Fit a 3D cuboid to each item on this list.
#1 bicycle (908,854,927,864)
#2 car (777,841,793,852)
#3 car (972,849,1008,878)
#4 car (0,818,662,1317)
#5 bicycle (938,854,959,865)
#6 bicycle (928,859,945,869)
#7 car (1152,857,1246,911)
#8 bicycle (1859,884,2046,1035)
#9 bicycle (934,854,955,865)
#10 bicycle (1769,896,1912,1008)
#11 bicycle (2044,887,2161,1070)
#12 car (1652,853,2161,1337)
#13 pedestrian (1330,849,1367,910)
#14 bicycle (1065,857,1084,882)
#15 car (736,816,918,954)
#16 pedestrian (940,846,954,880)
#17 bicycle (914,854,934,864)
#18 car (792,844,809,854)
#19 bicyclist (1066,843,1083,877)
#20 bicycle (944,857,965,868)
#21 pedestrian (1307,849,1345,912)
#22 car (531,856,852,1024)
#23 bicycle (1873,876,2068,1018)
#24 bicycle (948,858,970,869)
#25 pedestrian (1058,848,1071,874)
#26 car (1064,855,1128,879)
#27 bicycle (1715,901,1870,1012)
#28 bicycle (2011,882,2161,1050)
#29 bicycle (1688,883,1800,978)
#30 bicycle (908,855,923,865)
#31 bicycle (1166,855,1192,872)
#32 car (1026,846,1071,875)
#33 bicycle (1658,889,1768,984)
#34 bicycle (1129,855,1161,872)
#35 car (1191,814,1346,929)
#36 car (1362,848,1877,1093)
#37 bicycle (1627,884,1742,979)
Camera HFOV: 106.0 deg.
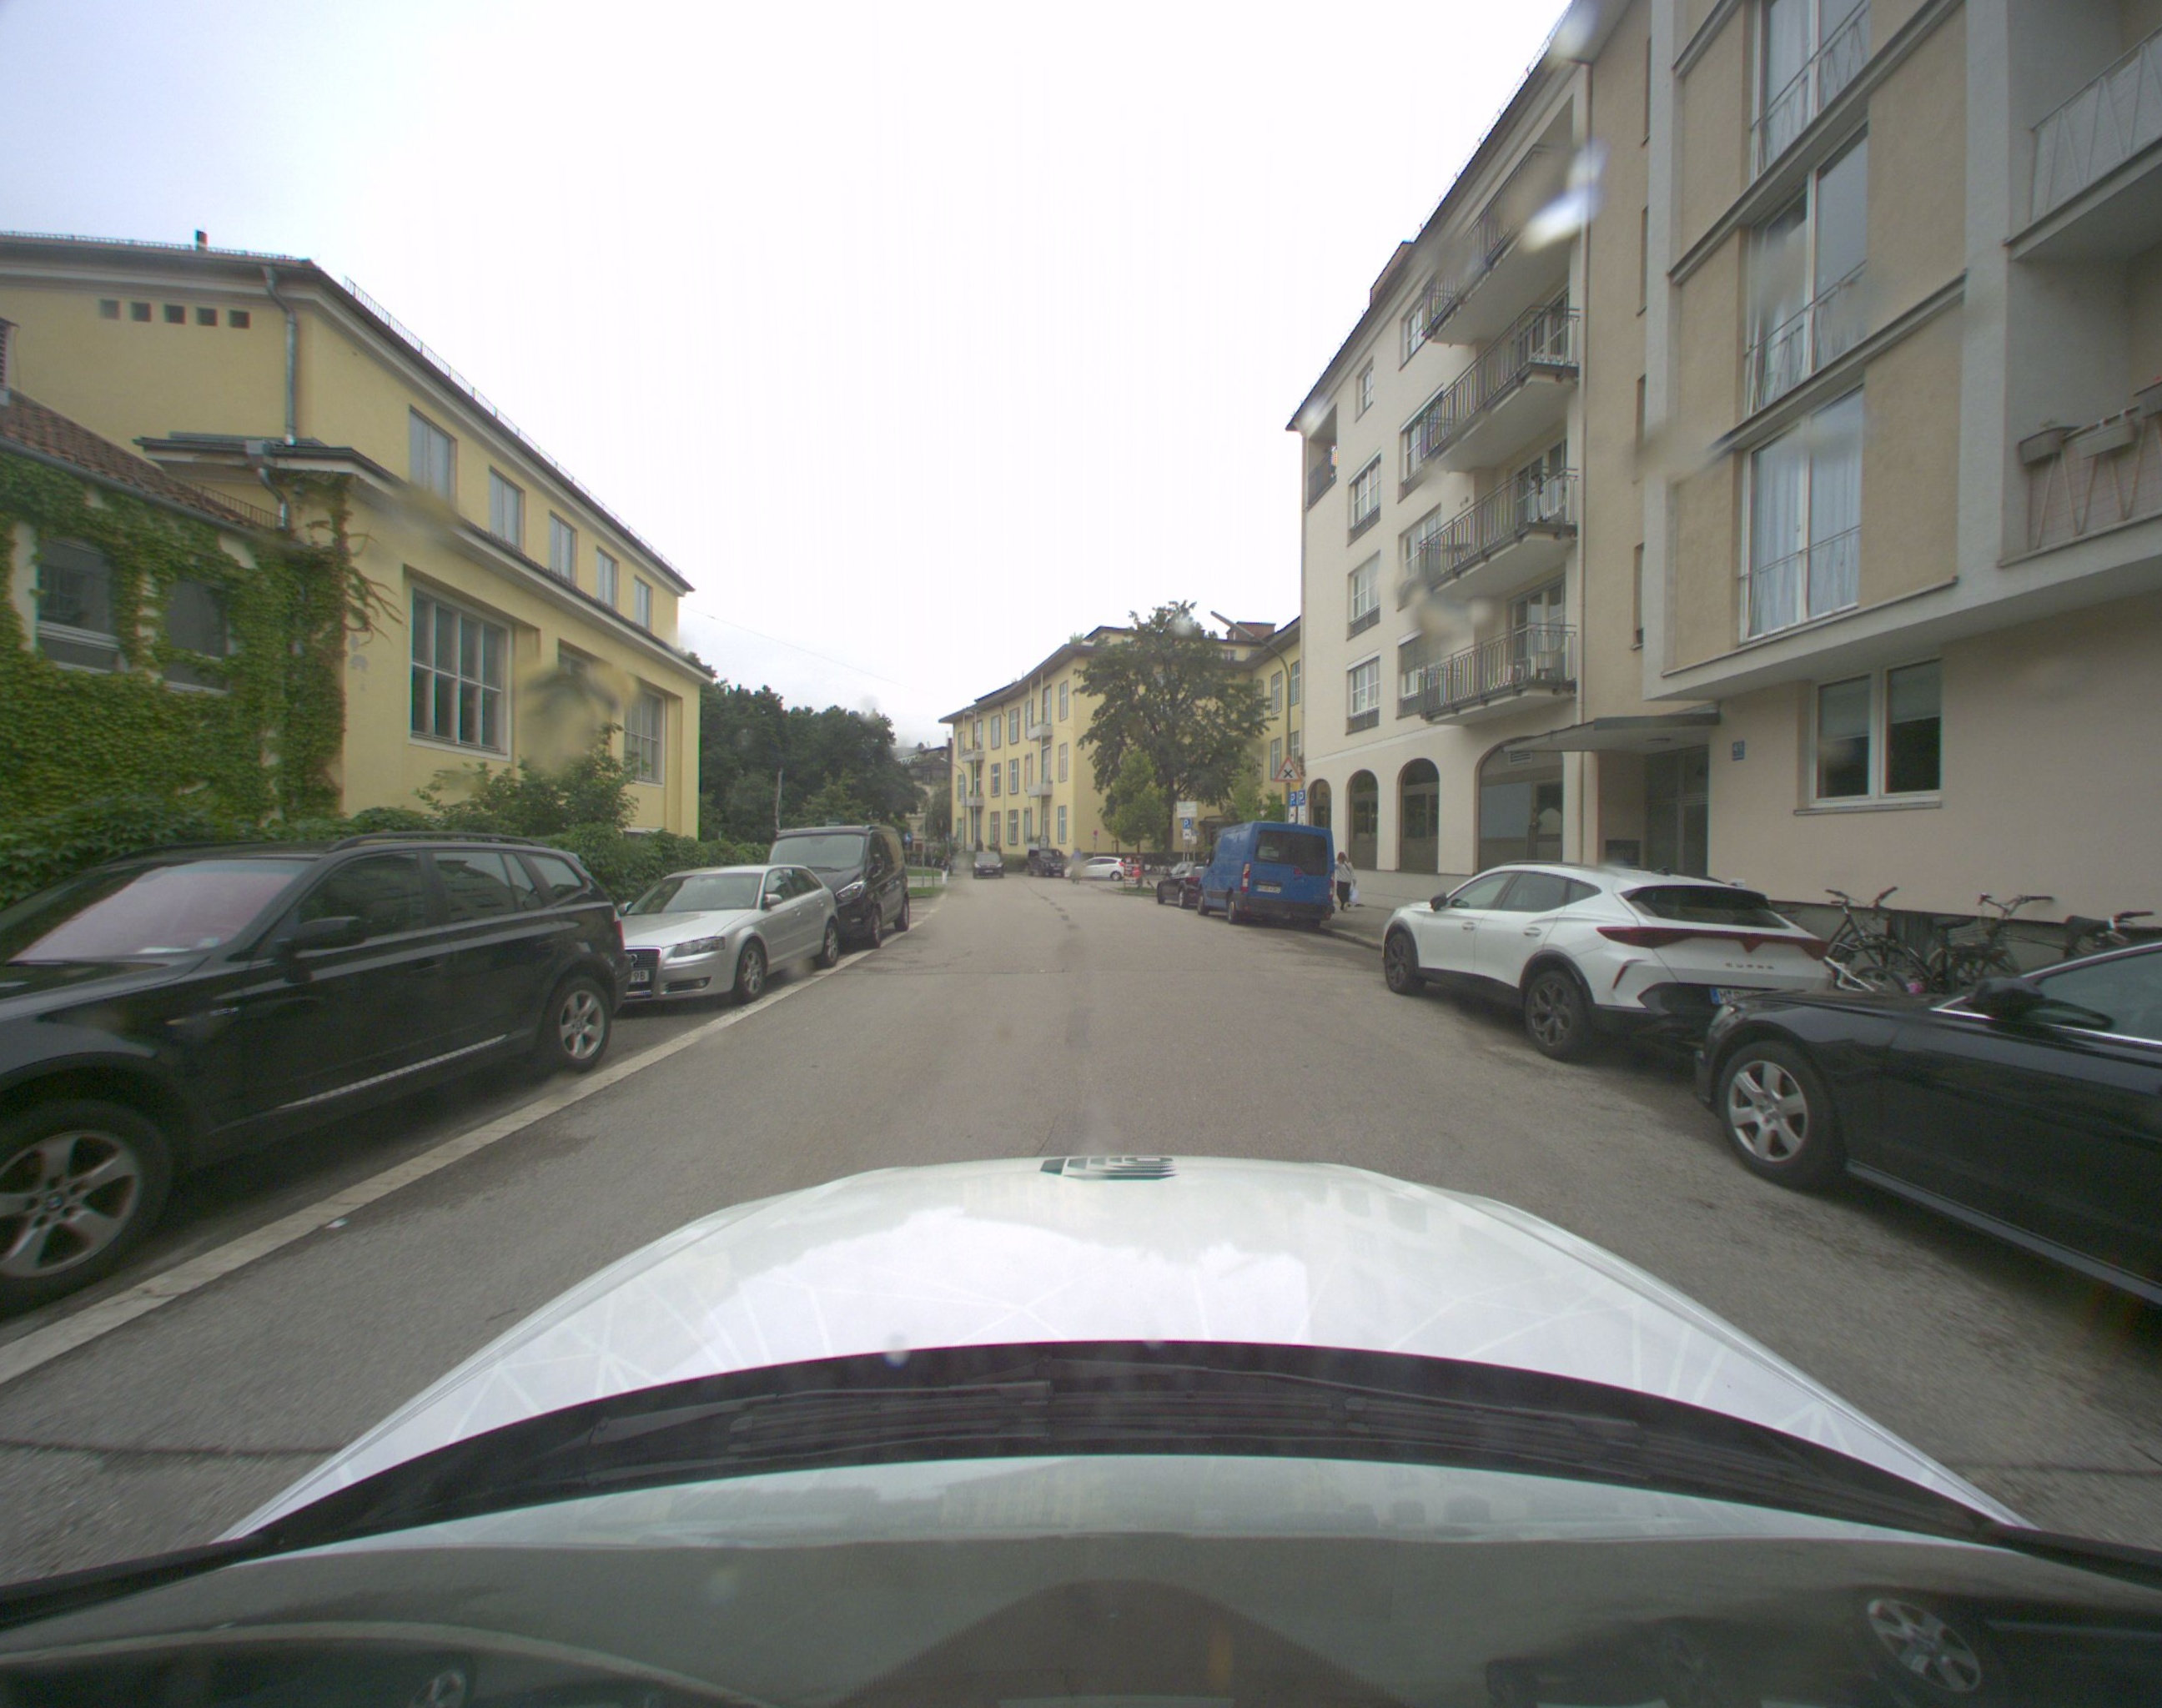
[{"bbox_3d":[-17.205,0.538,85.606,1.989,1.028,0.611,0,0,-44],"label":"bicycle"},{"bbox_3d":[-53.084,-1.286,146.146,2.077,1.966,4.933,0,1,-27],"label":"car"},{"bbox_3d":[-5.891,0.567,52.460,1.994,1.719,4.599,0,1,-10],"label":"car"},{"bbox_3d":[-4.318,0.710,4.320,1.696,1.606,4.492,-3,1,1],"label":"car"},{"bbox_3d":[-12.715,0.563,78.033,1.989,1.028,0.611,0,0,-44],"label":"bicycle"},{"bbox_3d":[-14.295,0.973,80.527,0.527,1.028,1.989,0,0,26],"label":"bicycle"},{"bbox_3d":[3.584,0.878,25.405,1.714,1.394,3.987,4,0,-9],"label":"car"},{"bbox_3d":[7.925,0.911,7.473,0.410,1.202,1.286,-3,-1,8],"label":"bicycle"},{"bbox_3d":[-13.232,0.548,78.965,1.989,1.028,0.611,0,0,-44],"label":"bicycle"},{"bbox_3d":[8.620,1.074,9.307,0.367,1.101,1.348,-3,-1,3],"label":"bicycle"},{"bbox_3d":[7.643,0.878,5.662,0.394,1.202,1.574,-3,-1,18],"label":"bicycle"},{"bbox_3d":[4.157,0.801,2.383,1.765,1.429,4.697,5,1,3],"label":"car"},{"bbox_3d":[7.178,0.671,21.889,0.710,1.605,0.698,-1,0,-7],"label":"pedestrian"},{"bbox_3d":[-0.333,0.831,43.614,0.917,1.252,2.323,0,1,2],"label":"bicycle"},{"bbox_3d":[-4.257,0.427,14.511,1.921,1.979,4.617,-3,1,-3],"label":"car"},{"bbox_3d":[-6.786,0.443,41.192,0.543,1.697,0.662,-2,1,-18],"label":"pedestrian"},{"bbox_3d":[-16.157,0.531,83.604,1.989,1.028,0.611,0,0,-44],"label":"bicycle"},{"bbox_3d":[-47.644,-0.835,138.212,2.007,1.600,4.212,0,1,-31],"label":"car"},{"bbox_3d":[-0.341,0.311,43.541,0.910,1.764,1.216,0,0,1],"label":"bicyclist"},{"bbox_3d":[-12.010,0.836,77.249,1.989,1.028,0.611,0,0,-44],"label":"bicycle"},{"bbox_3d":[6.494,0.691,21.597,0.678,1.628,0.827,-1,-1,-8],"label":"pedestrian"},{"bbox_3d":[-4.145,0.795,9.500,1.701,1.365,4.002,-4,1,0],"label":"car"},{"bbox_3d":[8.521,0.843,7.880,0.444,1.202,1.397,-3,-1,8],"label":"bicycle"},{"bbox_3d":[-11.487,0.853,76.663,1.989,1.028,0.611,0,0,-44],"label":"bicycle"},{"bbox_3d":[-1.129,0.490,56.452,0.847,1.757,0.952,0,1,-5],"label":"pedestrian"},{"bbox_3d":[0.960,0.760,49.967,3.693,1.406,1.758,0,0,9],"label":"car"},{"bbox_3d":[8.053,1.119,9.280,0.395,1.101,1.296,-3,-1,-14],"label":"bicycle"},{"bbox_3d":[8.350,0.858,6.452,0.444,1.202,1.397,-3,-1,8],"label":"bicycle"},{"bbox_3d":[8.674,0.967,10.714,0.367,1.101,1.348,-3,-1,3],"label":"bicycle"},{"bbox_3d":[-17.377,0.623,85.547,0.404,1.014,1.547,0,1,43],"label":"bicycle"},{"bbox_3d":[6.711,0.661,55.760,1.680,1.130,0.459,0,0,-8],"label":"bicycle"},{"bbox_3d":[-2.293,0.408,56.320,1.879,1.887,4.588,0,1,-19],"label":"car"},{"bbox_3d":[8.288,1.049,10.741,0.367,1.101,1.389,-3,-1,3],"label":"bicycle"},{"bbox_3d":[4.410,0.664,55.981,2.154,1.115,0.642,0,0,10],"label":"bicycle"},{"bbox_3d":[4.246,0.424,19.421,2.105,2.214,5.021,5,-2,-4],"label":"car"},{"bbox_3d":[4.447,0.792,7.719,1.772,1.522,4.299,4,1,-4],"label":"car"},{"bbox_3d":[7.842,0.970,10.649,0.390,1.101,1.345,-3,-1,-3],"label":"bicycle"}]
